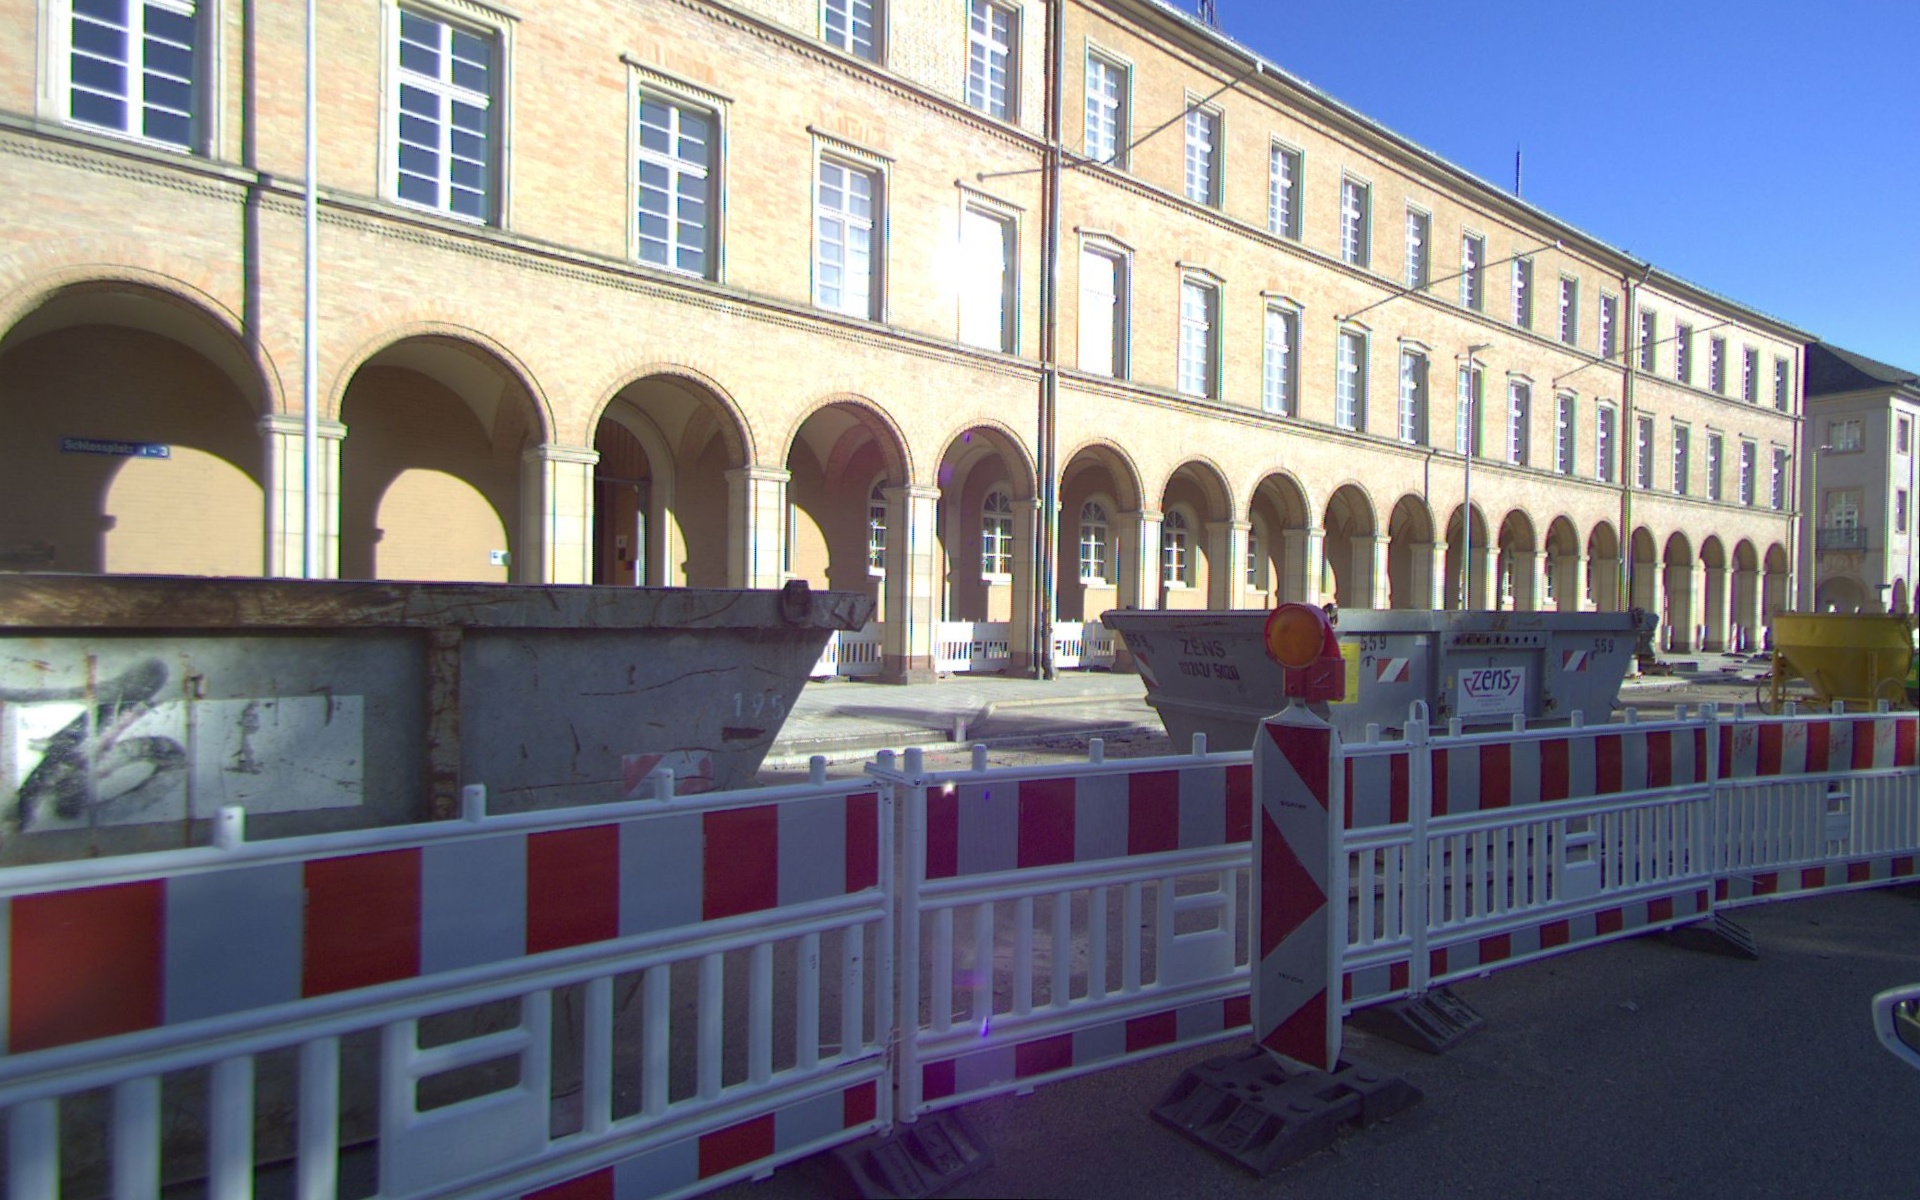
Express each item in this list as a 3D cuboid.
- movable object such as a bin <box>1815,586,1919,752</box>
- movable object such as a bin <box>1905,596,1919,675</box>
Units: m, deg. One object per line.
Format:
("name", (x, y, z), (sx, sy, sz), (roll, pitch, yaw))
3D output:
("movable object such as a bin", (13.247, 0.818, 13.021), (4.284, 1.975, 2.040), (0, 1, -31))
("movable object such as a bin", (32.882, 1.142, 32.665), (4.565, 2.508, 2.063), (0, 1, -32))
